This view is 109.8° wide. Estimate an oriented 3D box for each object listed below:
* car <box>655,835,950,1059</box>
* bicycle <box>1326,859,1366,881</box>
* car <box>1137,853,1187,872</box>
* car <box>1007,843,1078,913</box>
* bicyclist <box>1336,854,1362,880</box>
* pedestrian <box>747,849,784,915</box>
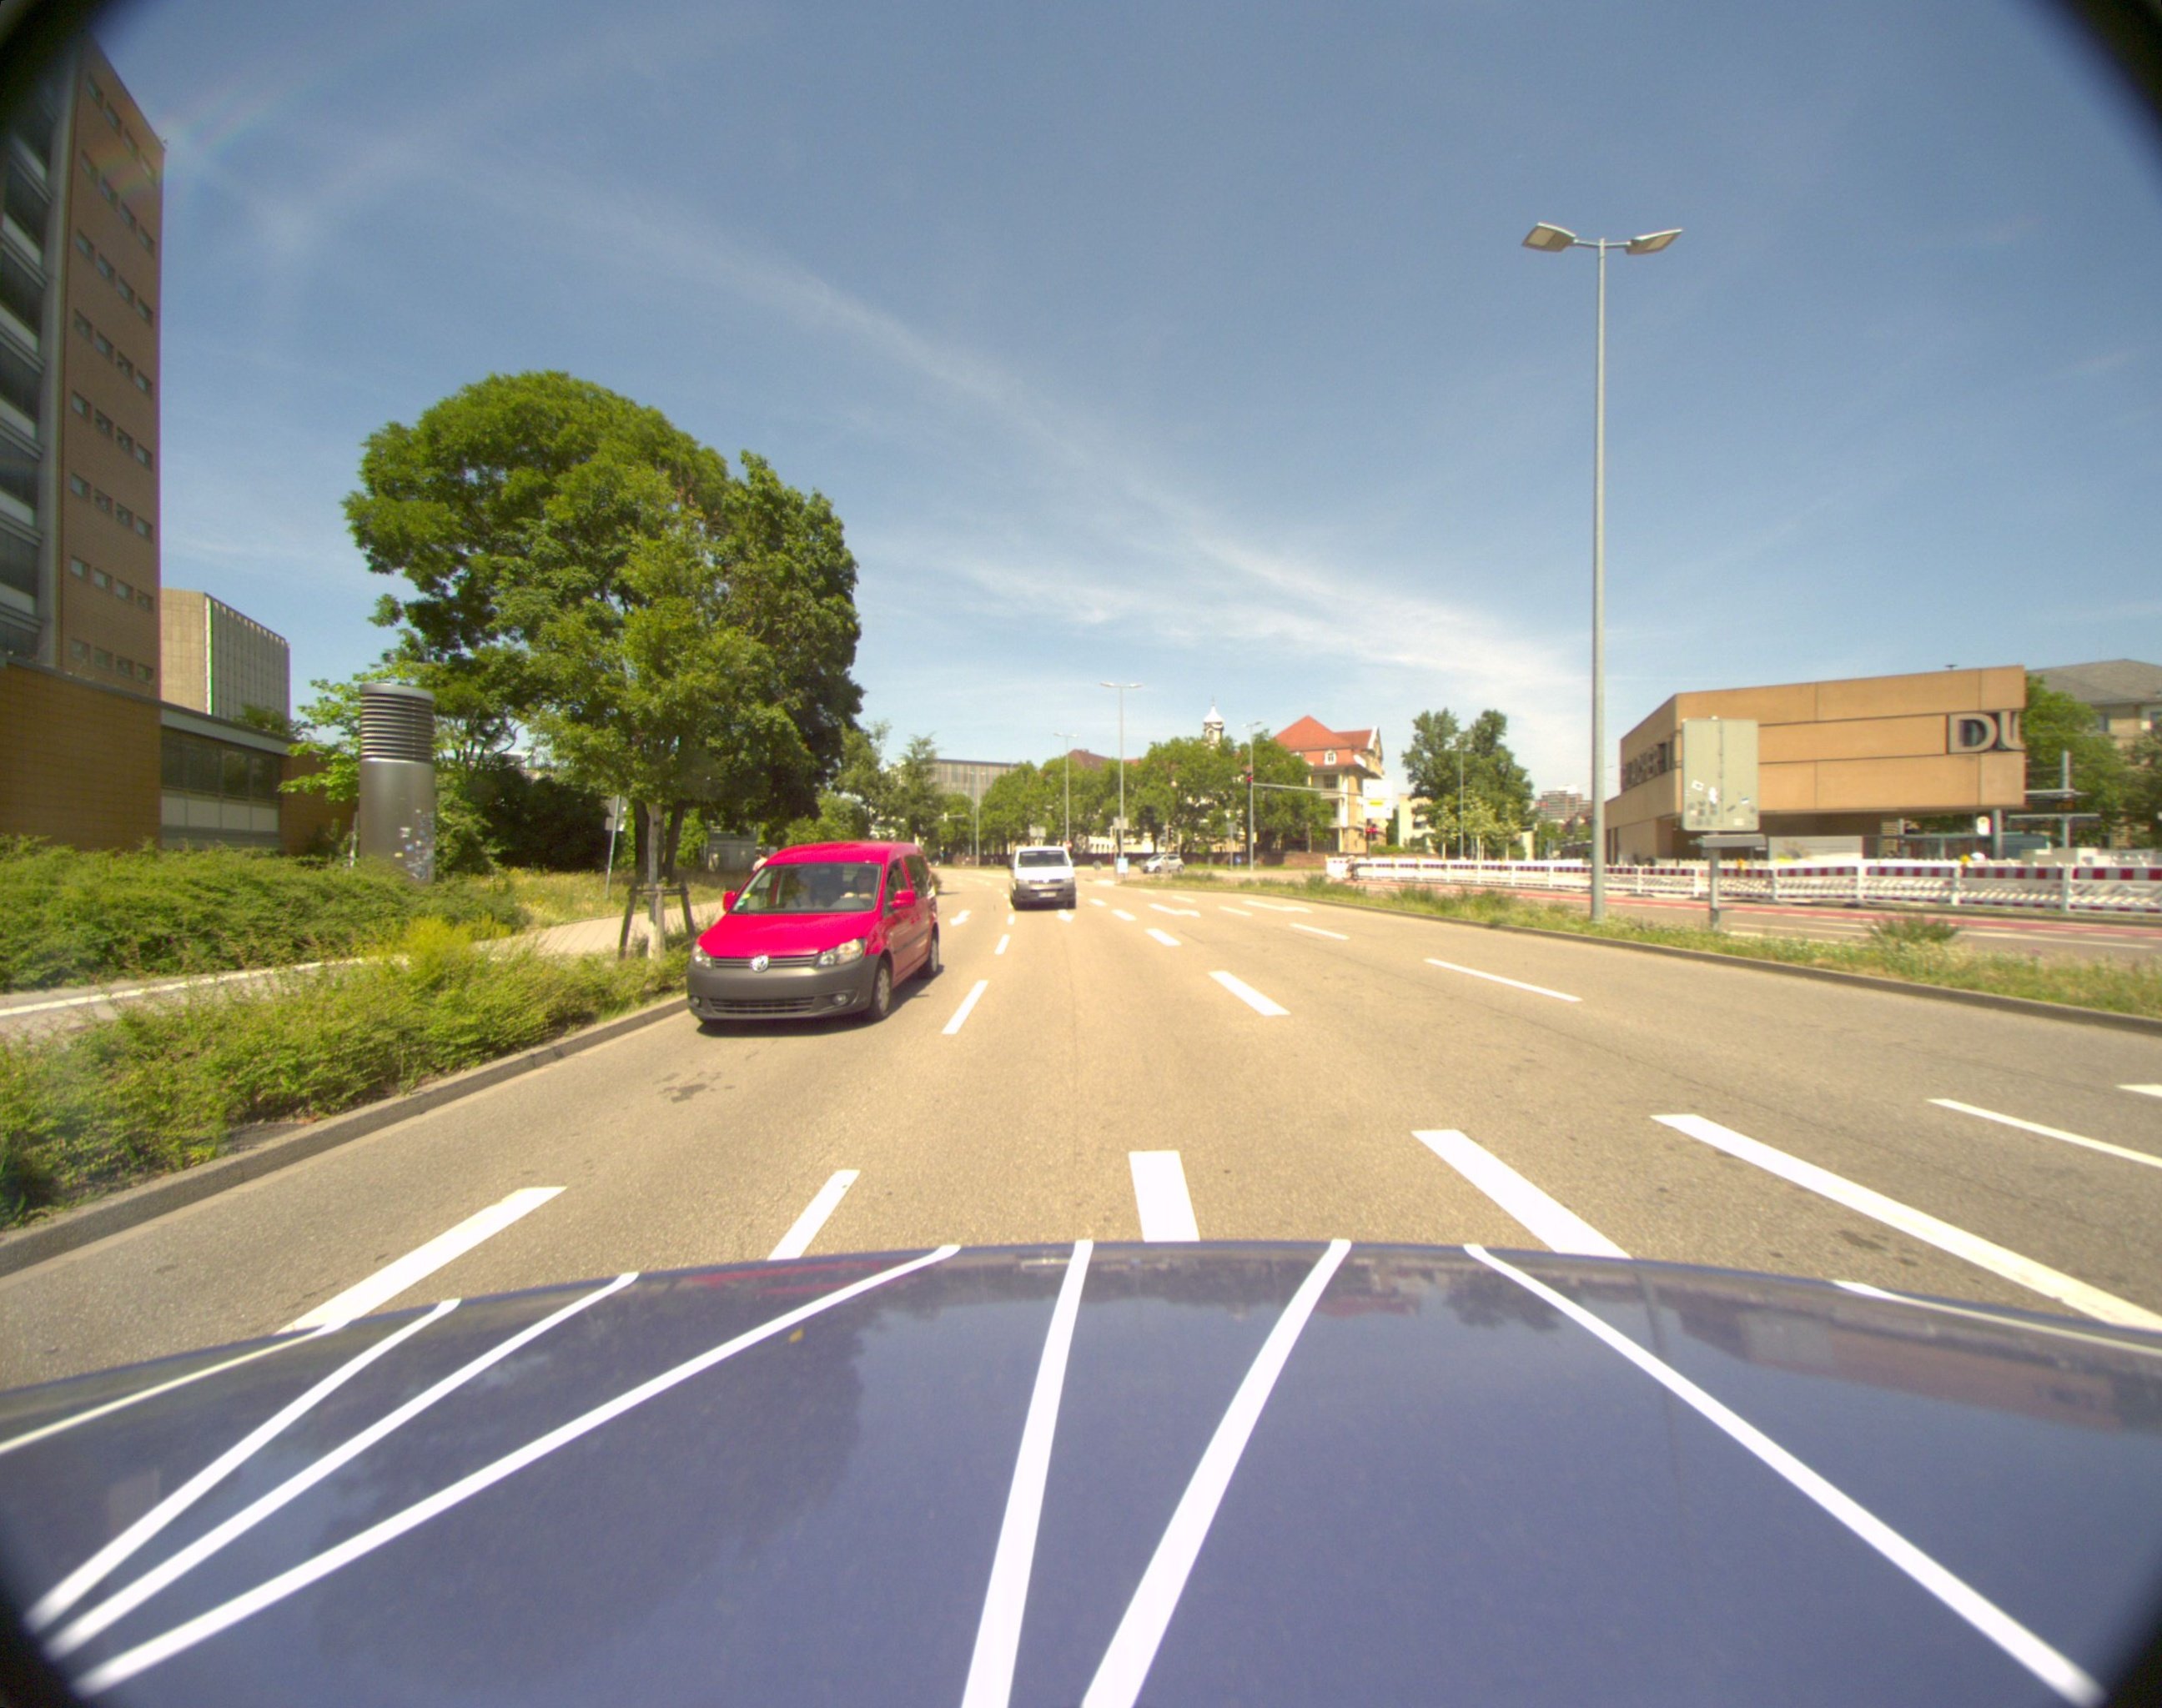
[{"bbox_3d":[-2.735,0.789,8.676,1.655,1.848,4.545,-1,0,0],"label":"car"},{"bbox_3d":[14.174,0.835,40.690,0.879,1.066,2.229,-2,1,-14],"label":"bicycle"},{"bbox_3d":[6.591,0.676,61.608,3.645,1.455,1.787,0,0,-30],"label":"car"},{"bbox_3d":[-1.295,0.693,24.478,1.972,1.958,4.846,-2,0,-4],"label":"car"},{"bbox_3d":[14.317,0.694,40.662,0.587,1.348,1.438,-3,1,-14],"label":"bicyclist"},{"bbox_3d":[-8.595,0.756,20.720,0.728,1.787,0.614,0,0,1],"label":"pedestrian"}]
